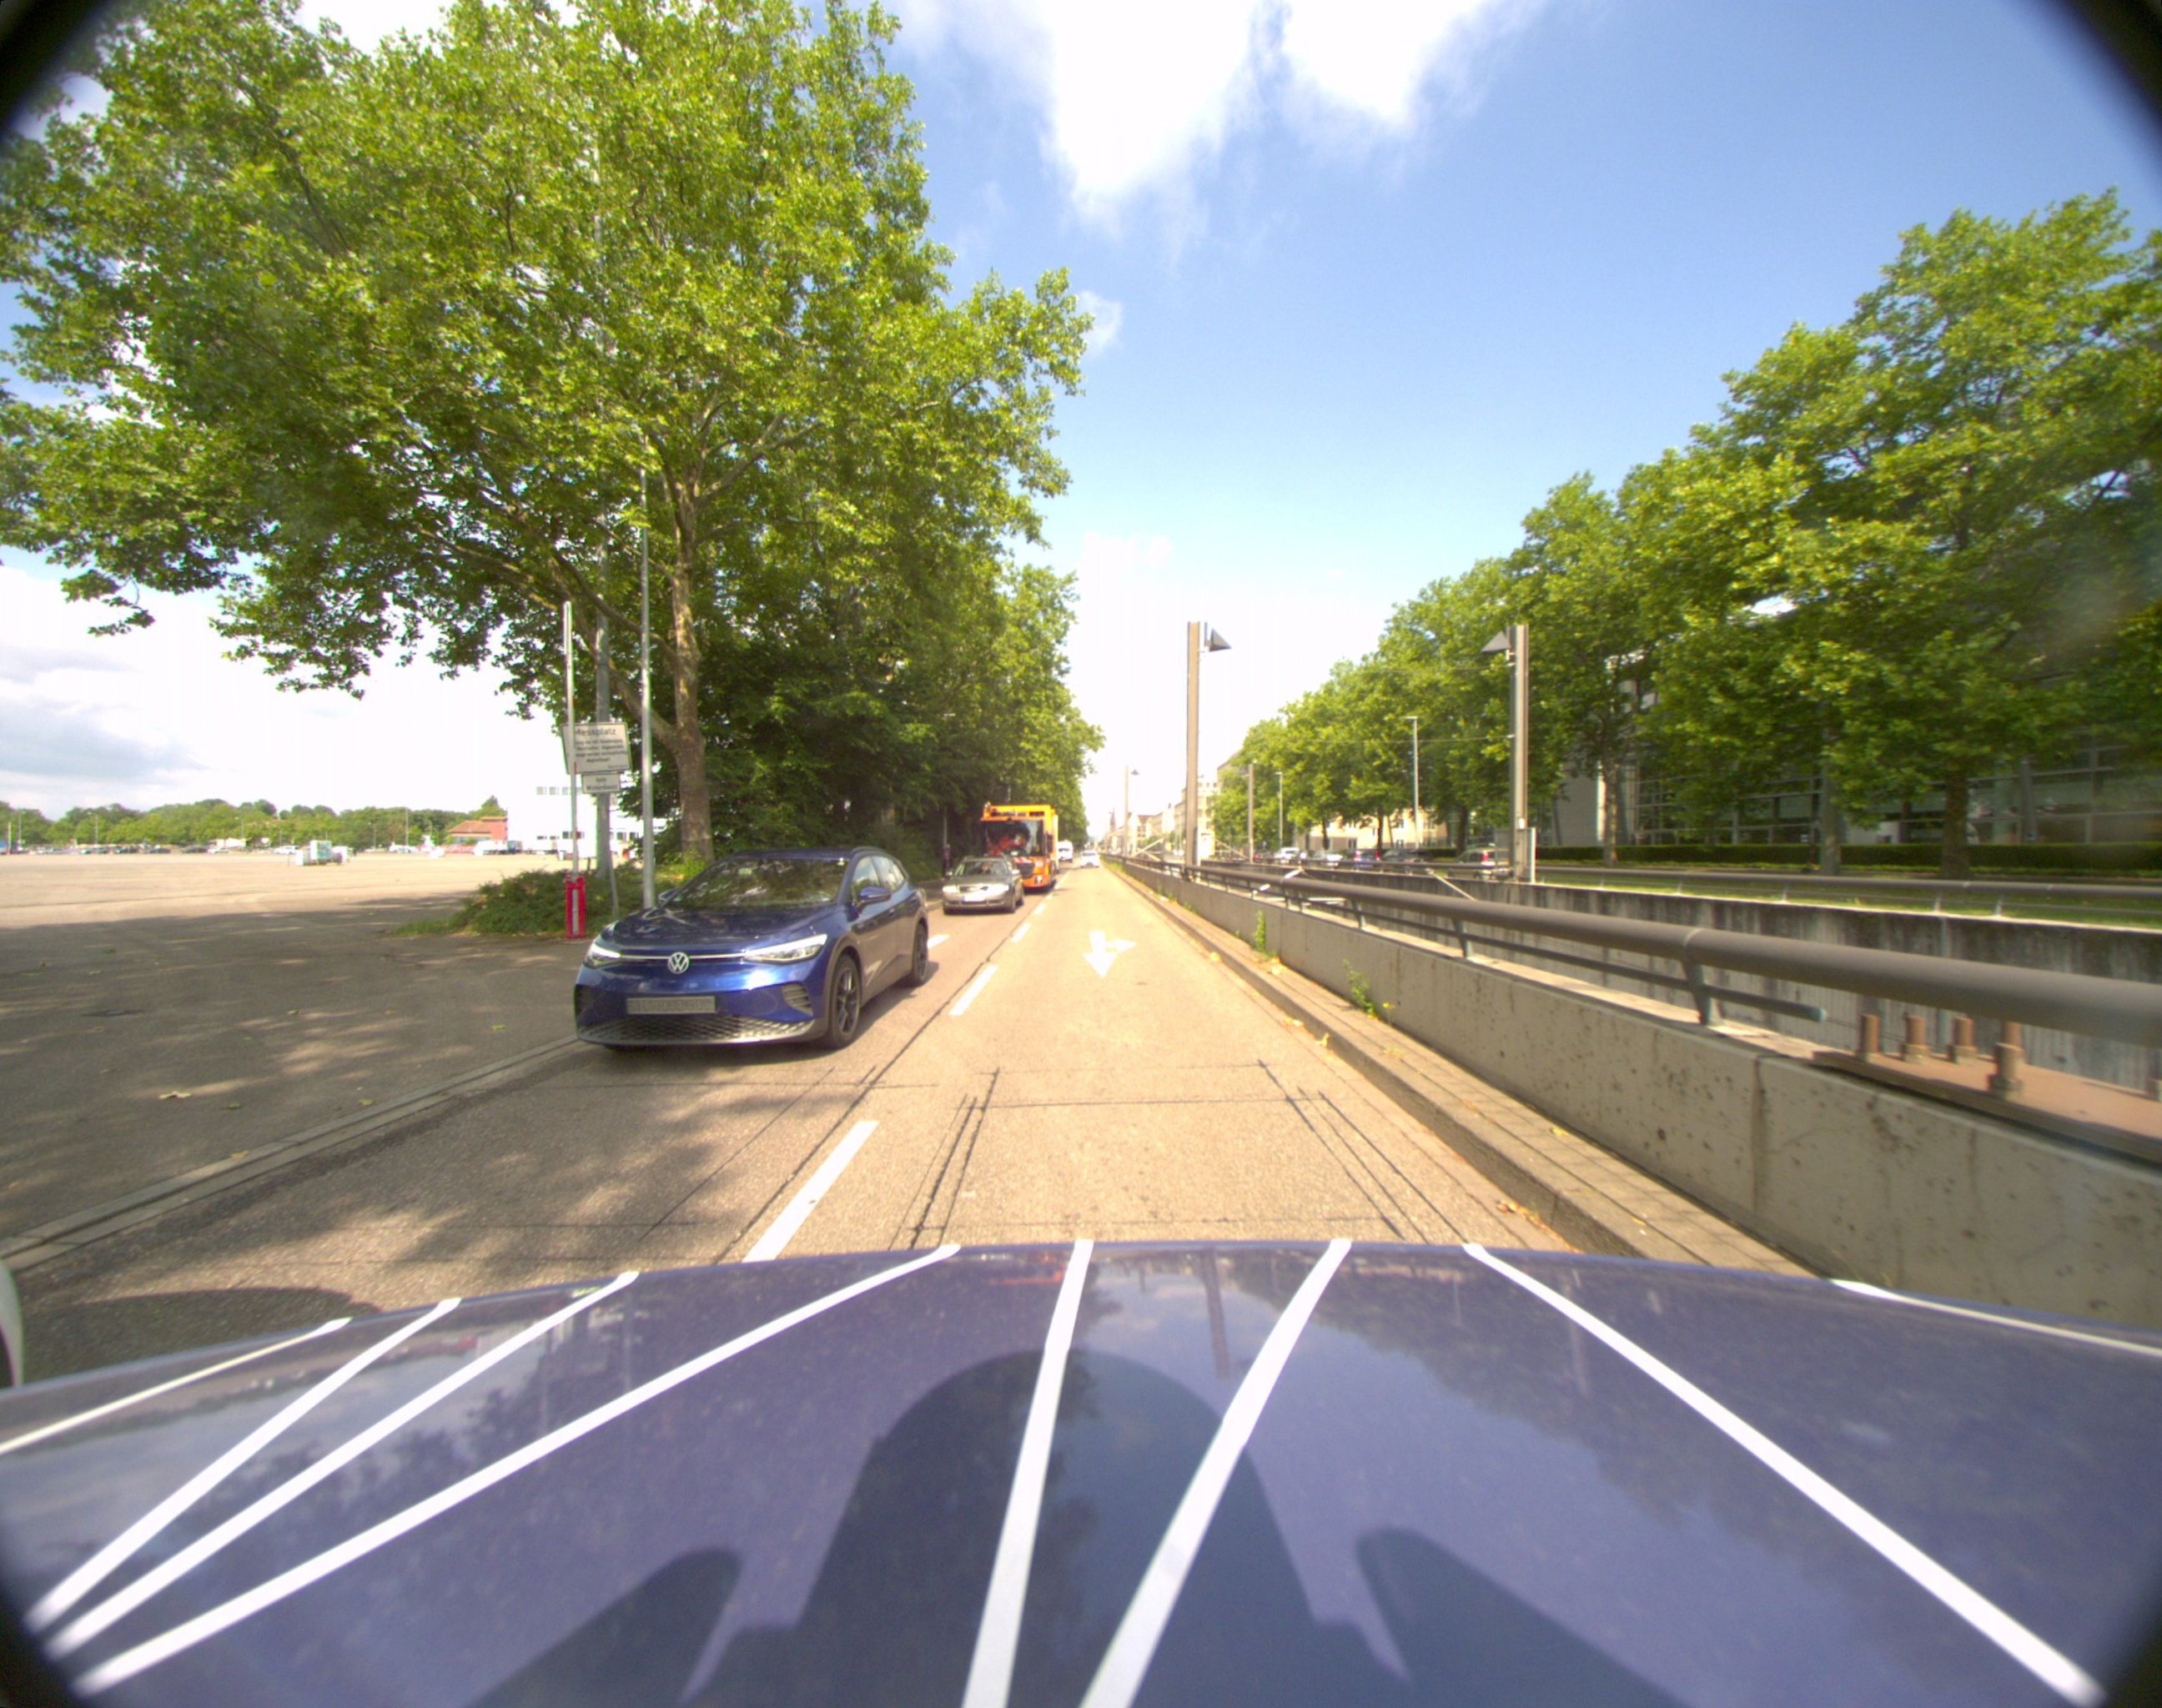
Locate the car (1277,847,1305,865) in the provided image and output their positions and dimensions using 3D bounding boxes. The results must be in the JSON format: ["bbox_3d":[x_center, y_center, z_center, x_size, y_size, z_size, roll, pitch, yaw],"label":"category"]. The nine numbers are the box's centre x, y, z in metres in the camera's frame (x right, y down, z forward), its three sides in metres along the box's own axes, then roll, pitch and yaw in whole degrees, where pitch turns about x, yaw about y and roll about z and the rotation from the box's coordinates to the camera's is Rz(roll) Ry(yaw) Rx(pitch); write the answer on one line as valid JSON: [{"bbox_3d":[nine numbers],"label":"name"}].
[{"bbox_3d":[15.845,0.127,57.392,1.309,1.368,3.185,0,1,1],"label":"car"}]

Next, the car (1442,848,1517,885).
[{"bbox_3d":[16.102,0.465,30.825,1.420,1.447,3.157,0,1,1],"label":"car"}]

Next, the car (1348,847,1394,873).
[{"bbox_3d":[16.205,0.305,42.597,1.515,1.368,2.887,0,1,1],"label":"car"}]

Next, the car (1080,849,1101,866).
[{"bbox_3d":[0.861,0.263,69.470,1.737,1.477,3.601,-1,1,-1],"label":"car"}]

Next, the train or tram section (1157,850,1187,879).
[{"bbox_3d":[8.440,0.946,70.896,2.215,2.444,6.249,-2,1,2],"label":"train or tram section"}]

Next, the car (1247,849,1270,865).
[{"bbox_3d":[16.048,0.262,68.834,1.309,1.368,3.185,0,1,1],"label":"car"}]

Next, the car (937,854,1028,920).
[{"bbox_3d":[-2.485,0.786,20.116,1.771,1.455,4.000,-2,1,1],"label":"car"}]

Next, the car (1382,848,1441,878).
[{"bbox_3d":[16.294,0.409,37.564,1.582,1.426,3.157,0,1,1],"label":"car"}]

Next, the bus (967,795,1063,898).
[{"bbox_3d":[-2.389,-0.312,31.193,2.744,3.446,10.393,-2,1,1],"label":"bus"}]

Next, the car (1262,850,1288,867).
[{"bbox_3d":[15.917,0.333,62.412,1.309,1.368,3.185,0,1,1],"label":"car"}]

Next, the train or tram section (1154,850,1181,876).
[{"bbox_3d":[8.702,0.877,77.077,2.215,2.444,6.249,-2,1,2],"label":"train or tram section"}]

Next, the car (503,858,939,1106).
[{"bbox_3d":[-2.786,0.854,7.263,1.891,1.566,4.580,-2,0,1],"label":"car"}]

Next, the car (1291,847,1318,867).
[{"bbox_3d":[15.812,0.223,53.847,1.167,1.368,2.745,0,1,1],"label":"car"}]

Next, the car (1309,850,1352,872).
[{"bbox_3d":[16.181,0.453,49.508,1.579,1.368,3.896,0,1,1],"label":"car"}]
